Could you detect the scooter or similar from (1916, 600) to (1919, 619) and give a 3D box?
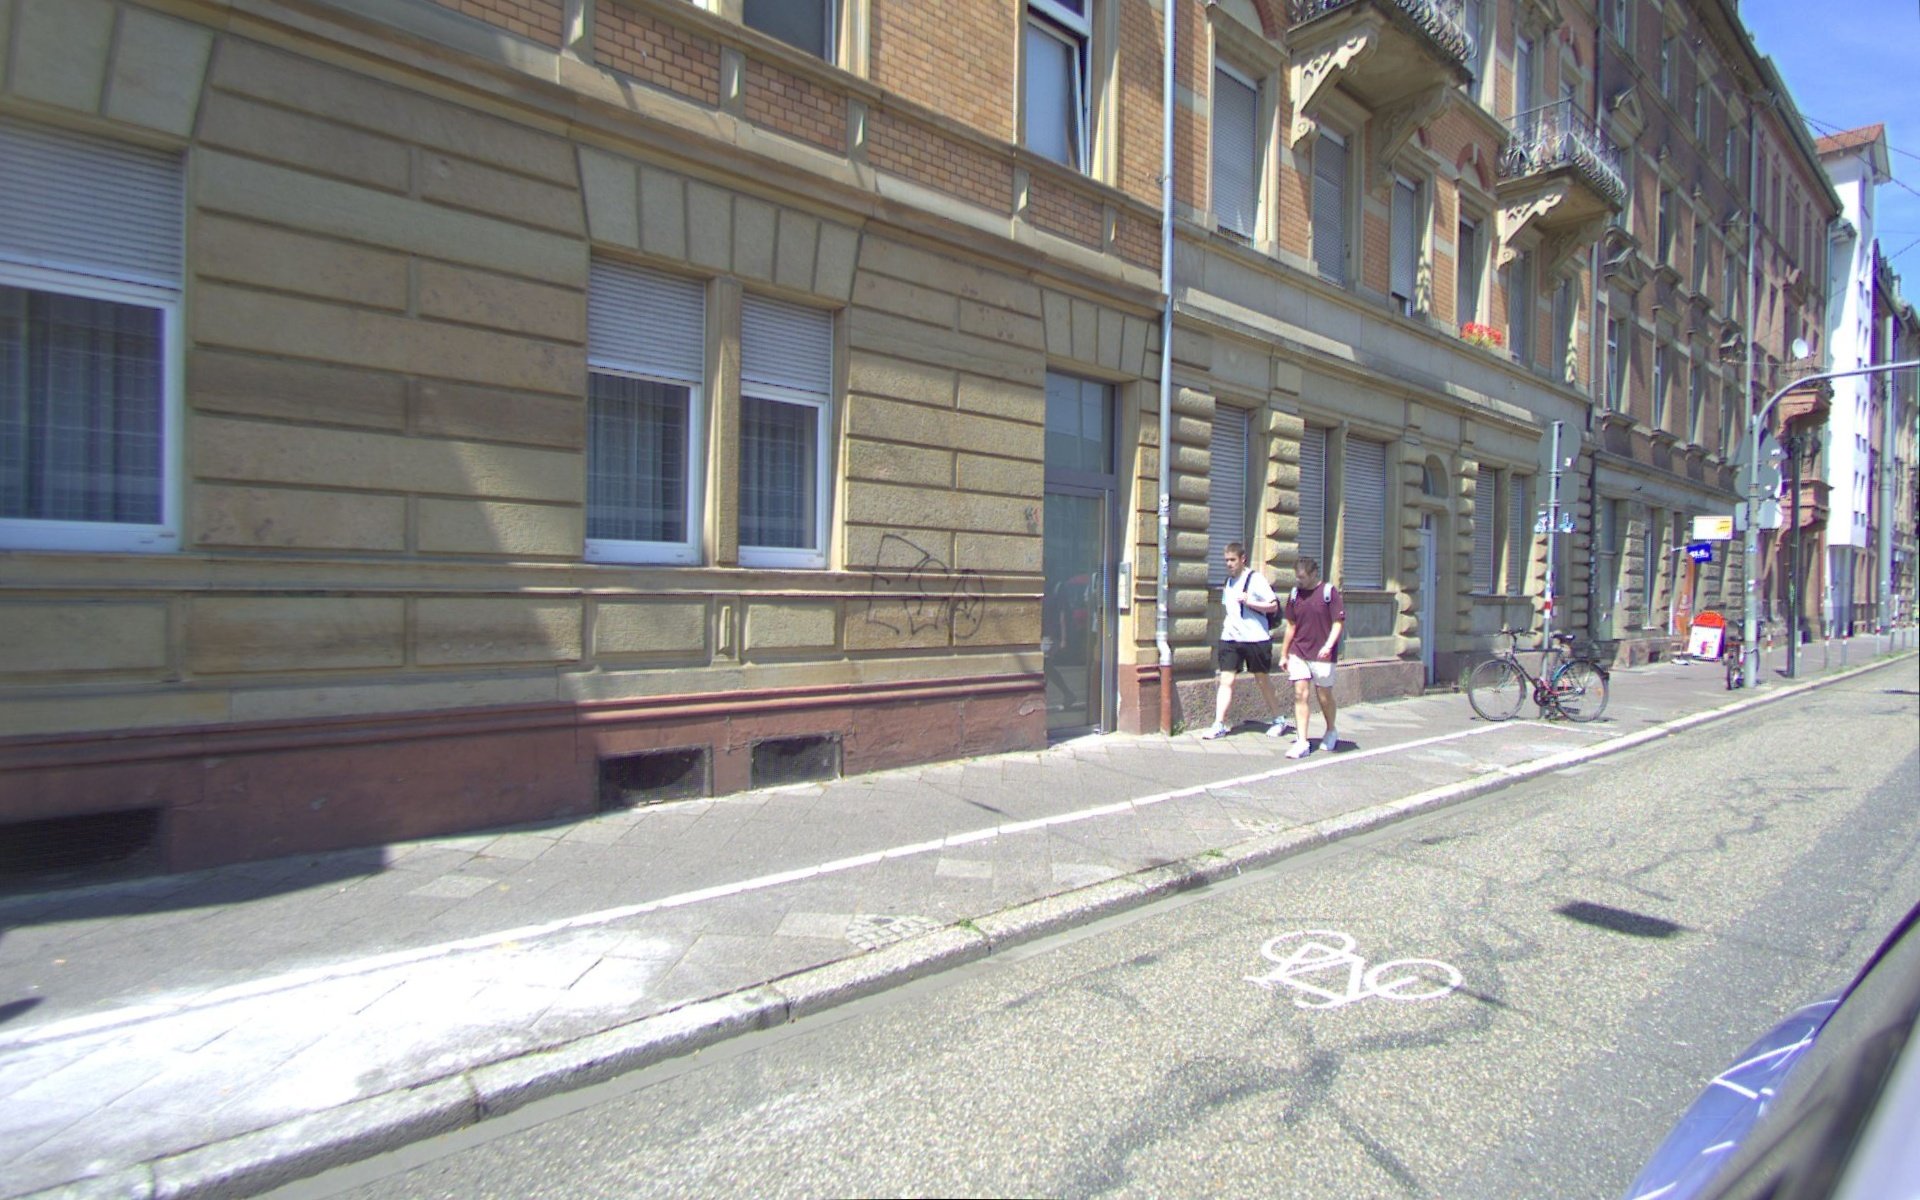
[{"bbox_3d":[59.997,0.612,62.278,1.506,1.170,0.710,1,0,21],"label":"scooter or similar"}]

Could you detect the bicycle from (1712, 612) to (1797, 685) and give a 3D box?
[{"bbox_3d":[13.004,0.763,16.546,2.377,1.110,0.449,0,1,-36],"label":"bicycle"}]

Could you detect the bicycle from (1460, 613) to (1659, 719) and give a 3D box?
[{"bbox_3d":[6.902,0.745,11.652,2.196,1.145,0.501,1,1,-12],"label":"bicycle"}]

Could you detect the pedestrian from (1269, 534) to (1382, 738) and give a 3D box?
[{"bbox_3d":[3.290,0.301,9.119,0.632,1.741,0.722,0,1,-40],"label":"pedestrian"}]

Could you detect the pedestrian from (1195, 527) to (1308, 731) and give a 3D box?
[{"bbox_3d":[2.811,0.253,9.786,0.632,1.871,0.704,0,4,-40],"label":"pedestrian"}]
